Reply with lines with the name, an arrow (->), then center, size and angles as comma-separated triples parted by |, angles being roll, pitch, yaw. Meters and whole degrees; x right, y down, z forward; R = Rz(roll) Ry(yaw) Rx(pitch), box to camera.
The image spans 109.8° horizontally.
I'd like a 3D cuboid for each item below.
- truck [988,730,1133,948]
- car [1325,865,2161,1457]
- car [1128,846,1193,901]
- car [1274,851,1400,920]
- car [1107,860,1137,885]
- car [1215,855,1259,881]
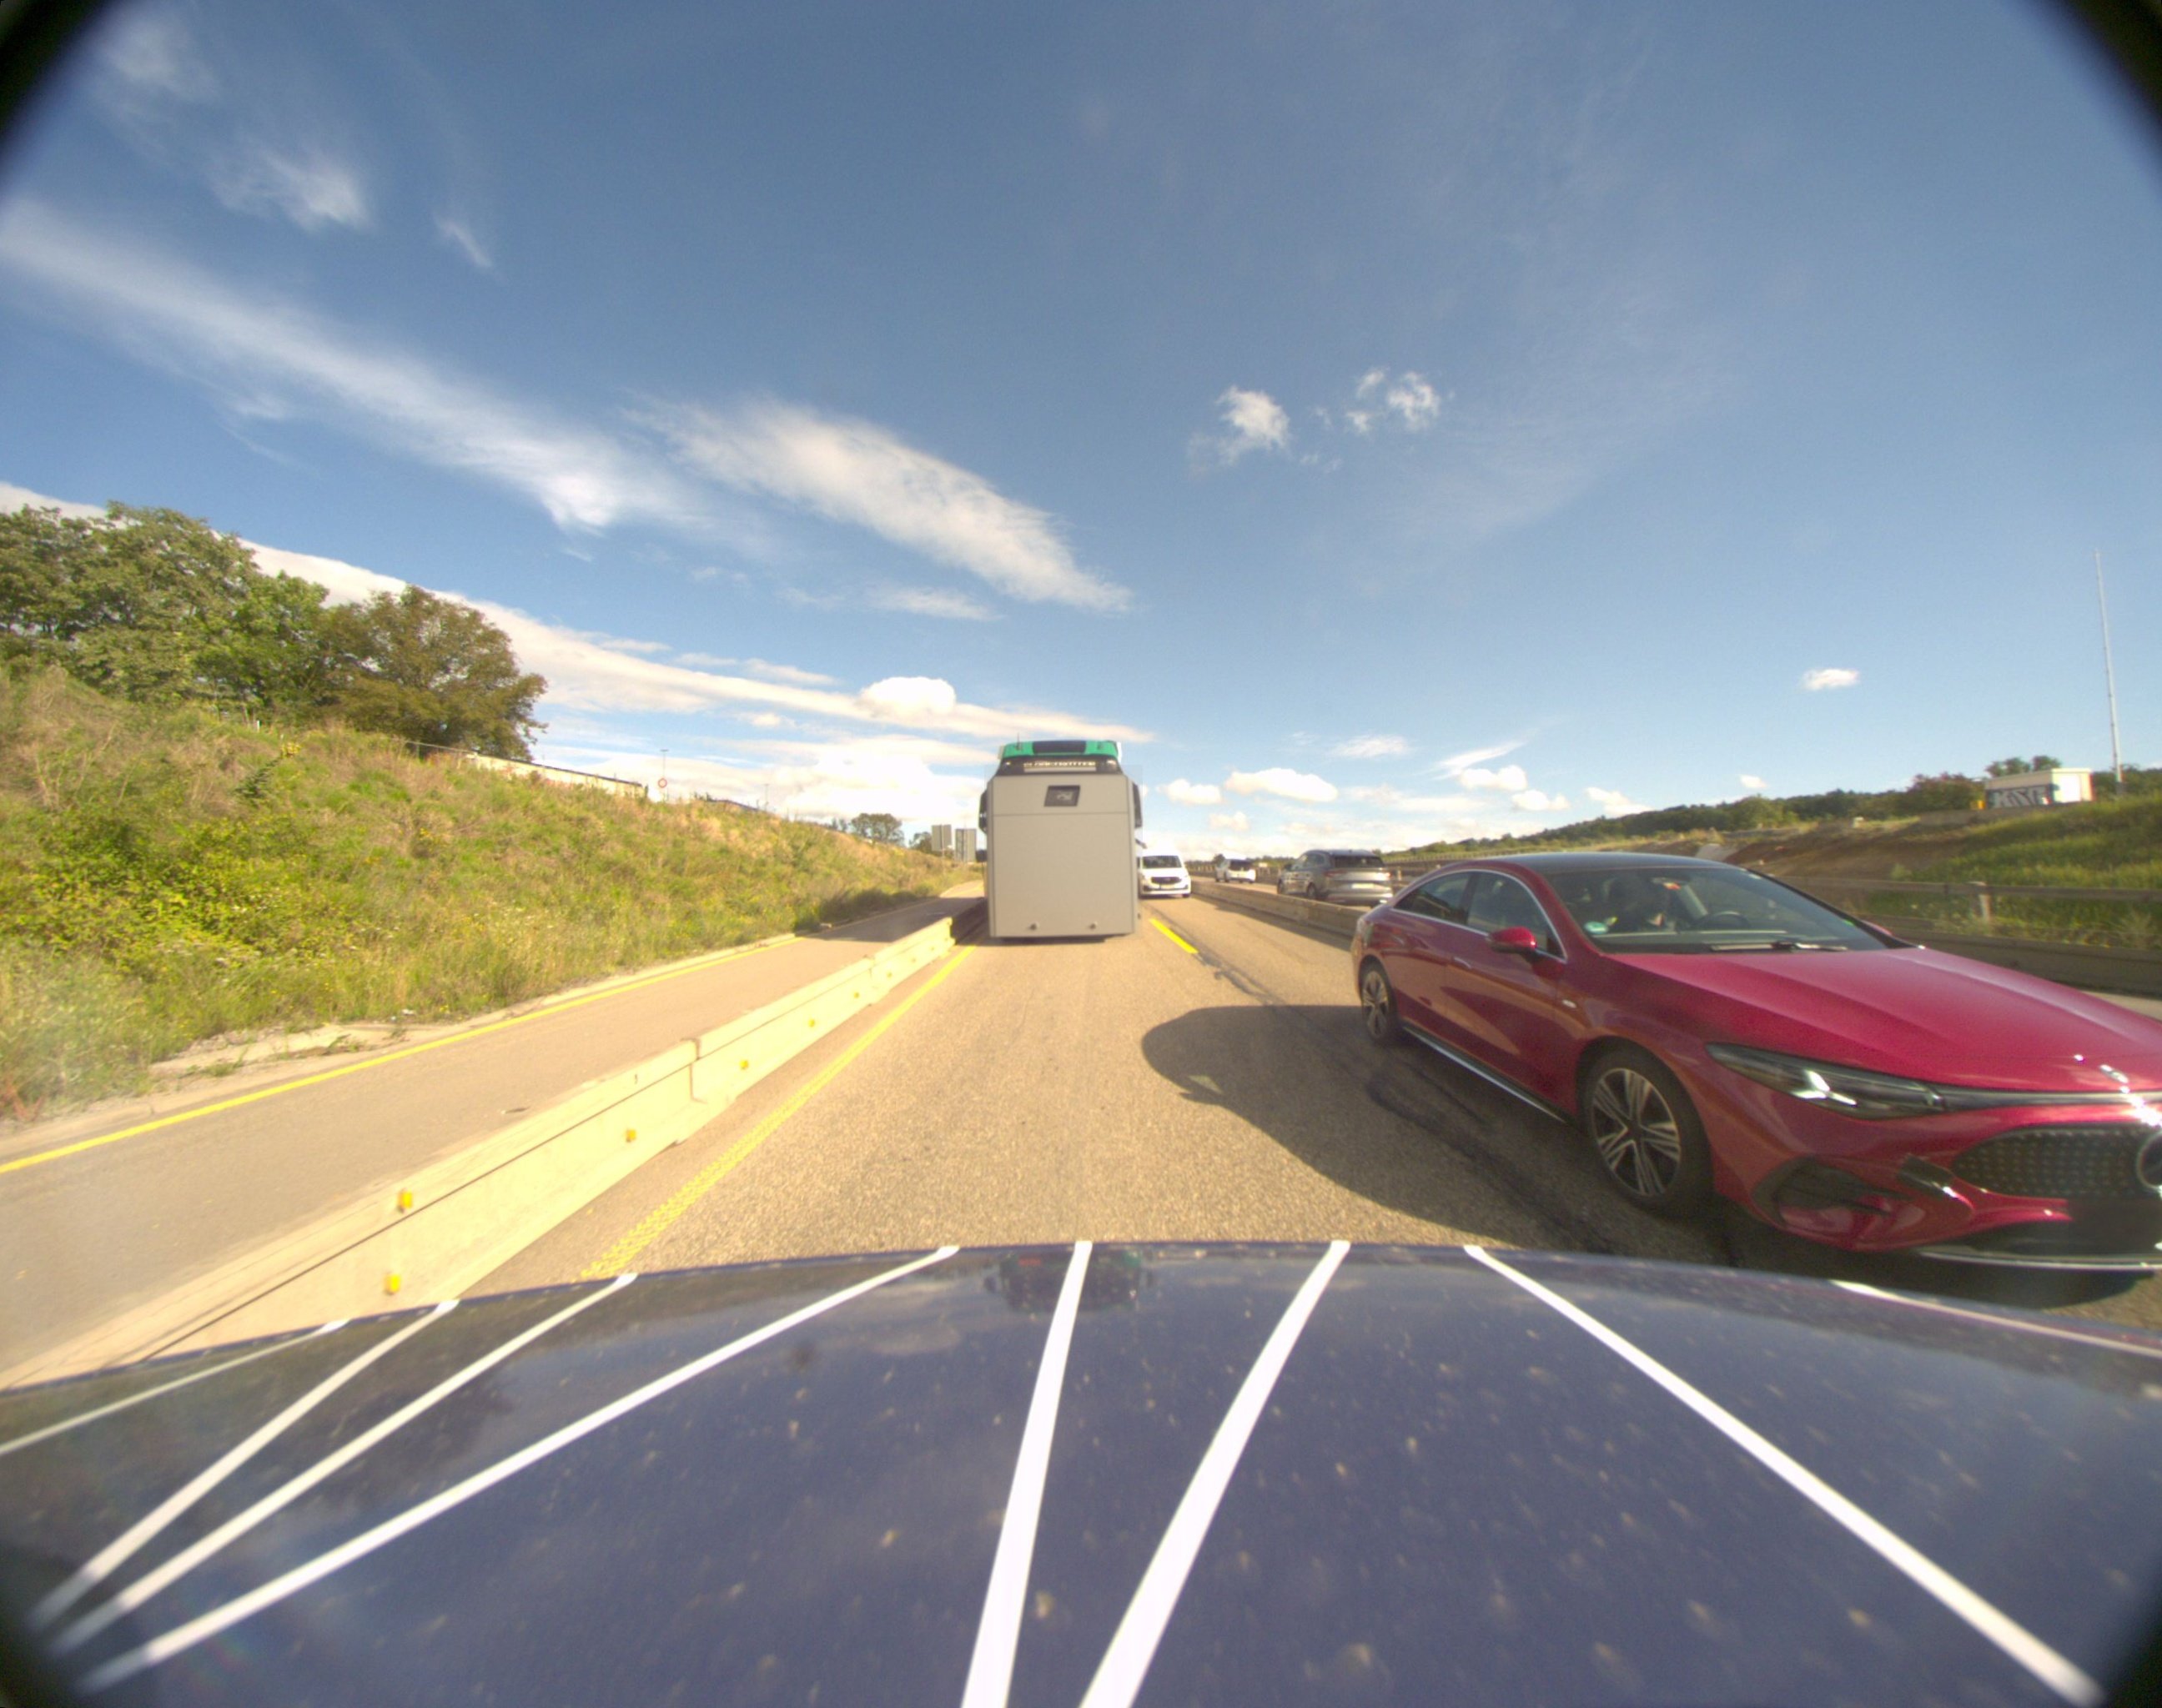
truck -> -0.427, -0.289, 17.956 | 2.546, 3.899, 8.278 | -1, 0, -1
car -> 3.102, 0.857, 4.381 | 1.828, 1.483, 4.684 | -2, 0, 0
car -> 2.882, 0.674, 28.403 | 1.828, 1.813, 4.455 | -2, 0, -1
car -> 6.518, 0.748, 19.869 | 1.828, 1.554, 4.218 | 1, 0, 0
car -> 2.686, 1.202, 50.584 | 1.719, 1.499, 3.999 | -2, 0, 0
car -> 9.722, 0.848, 47.583 | 1.828, 1.483, 4.218 | 1, 0, 0
